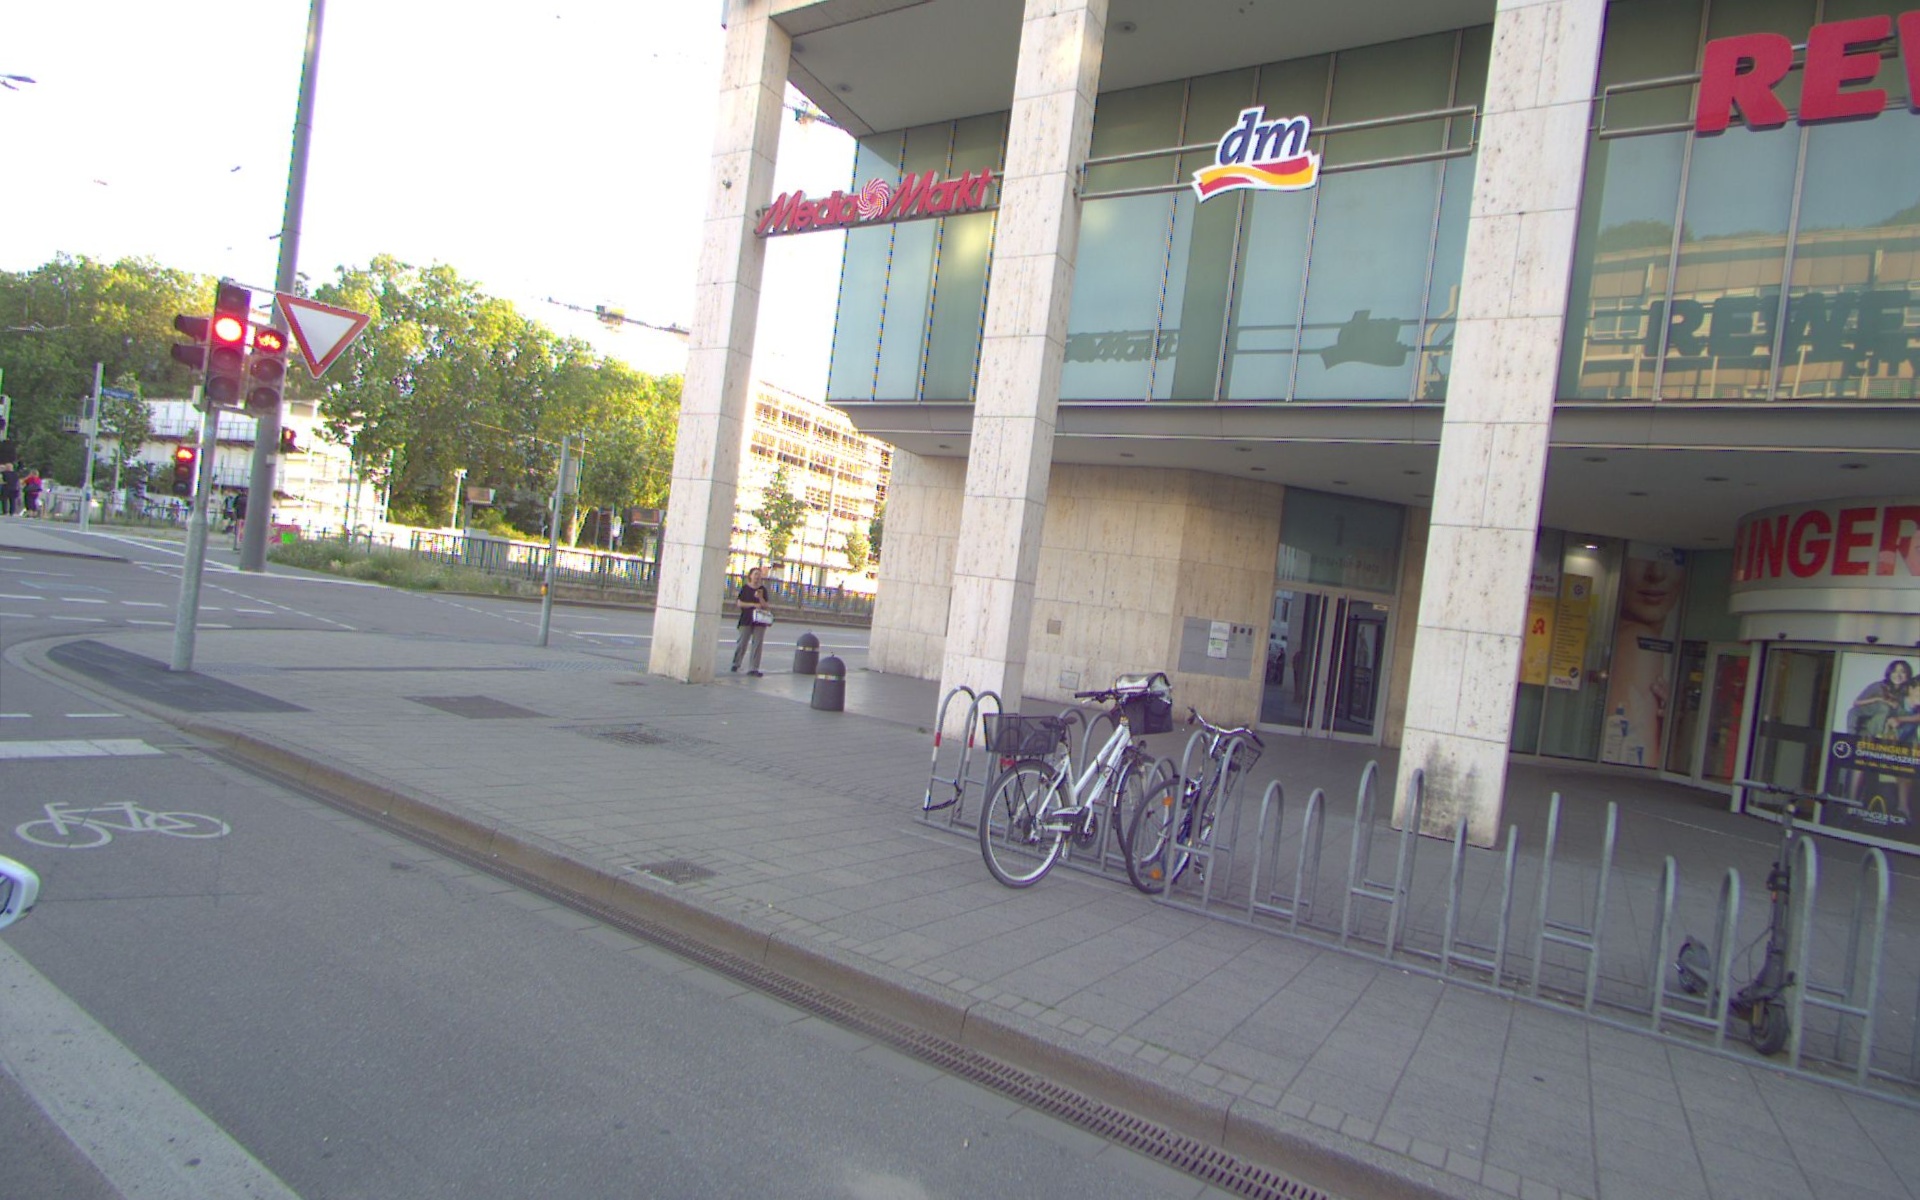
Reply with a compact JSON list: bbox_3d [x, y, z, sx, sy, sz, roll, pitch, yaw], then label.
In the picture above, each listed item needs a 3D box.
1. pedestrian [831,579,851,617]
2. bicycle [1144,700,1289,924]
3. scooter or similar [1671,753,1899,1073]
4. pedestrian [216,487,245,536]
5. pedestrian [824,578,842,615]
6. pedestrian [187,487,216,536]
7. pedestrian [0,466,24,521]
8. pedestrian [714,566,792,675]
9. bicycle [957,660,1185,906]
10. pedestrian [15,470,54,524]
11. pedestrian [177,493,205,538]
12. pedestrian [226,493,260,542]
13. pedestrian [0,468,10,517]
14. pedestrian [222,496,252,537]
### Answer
[{"bbox_3d":[-6.699,-0.133,56.657,0.631,2.039,0.626,8,1,28],"label":"pedestrian"},{"bbox_3d":[1.676,1.244,6.373,0.474,1.092,1.773,8,0,24],"label":"bicycle"},{"bbox_3d":[3.989,1.441,4.956,0.484,1.214,1.196,8,1,27],"label":"scooter or similar"},{"bbox_3d":[-27.933,-3.380,38.518,0.708,1.746,0.660,7,1,-41],"label":"pedestrian"},{"bbox_3d":[-7.224,-0.185,57.103,0.559,2.039,0.575,8,1,28],"label":"pedestrian"},{"bbox_3d":[-28.799,-3.359,38.182,0.664,1.746,0.704,6,1,-45],"label":"pedestrian"},{"bbox_3d":[-32.808,-3.675,34.570,0.803,1.814,0.790,7,1,-44],"label":"pedestrian"},{"bbox_3d":[-3.342,0.341,16.245,0.696,1.659,0.791,8,1,32],"label":"pedestrian"},{"bbox_3d":[0.702,1.010,5.925,0.540,1.198,1.479,8,1,36],"label":"bicycle"},{"bbox_3d":[-32.660,-3.621,35.494,0.696,1.756,0.843,8,1,44],"label":"pedestrian"},{"bbox_3d":[-29.554,-3.258,38.658,0.527,1.612,0.571,8,1,32],"label":"pedestrian"},{"bbox_3d":[-27.164,-3.122,38.107,0.701,1.746,0.667,8,1,28],"label":"pedestrian"},{"bbox_3d":[-33.979,-3.809,35.458,0.570,1.699,0.631,7,1,-44],"label":"pedestrian"},{"bbox_3d":[-28.211,-3.267,39.253,0.704,1.459,0.675,8,1,39],"label":"pedestrian"}]
